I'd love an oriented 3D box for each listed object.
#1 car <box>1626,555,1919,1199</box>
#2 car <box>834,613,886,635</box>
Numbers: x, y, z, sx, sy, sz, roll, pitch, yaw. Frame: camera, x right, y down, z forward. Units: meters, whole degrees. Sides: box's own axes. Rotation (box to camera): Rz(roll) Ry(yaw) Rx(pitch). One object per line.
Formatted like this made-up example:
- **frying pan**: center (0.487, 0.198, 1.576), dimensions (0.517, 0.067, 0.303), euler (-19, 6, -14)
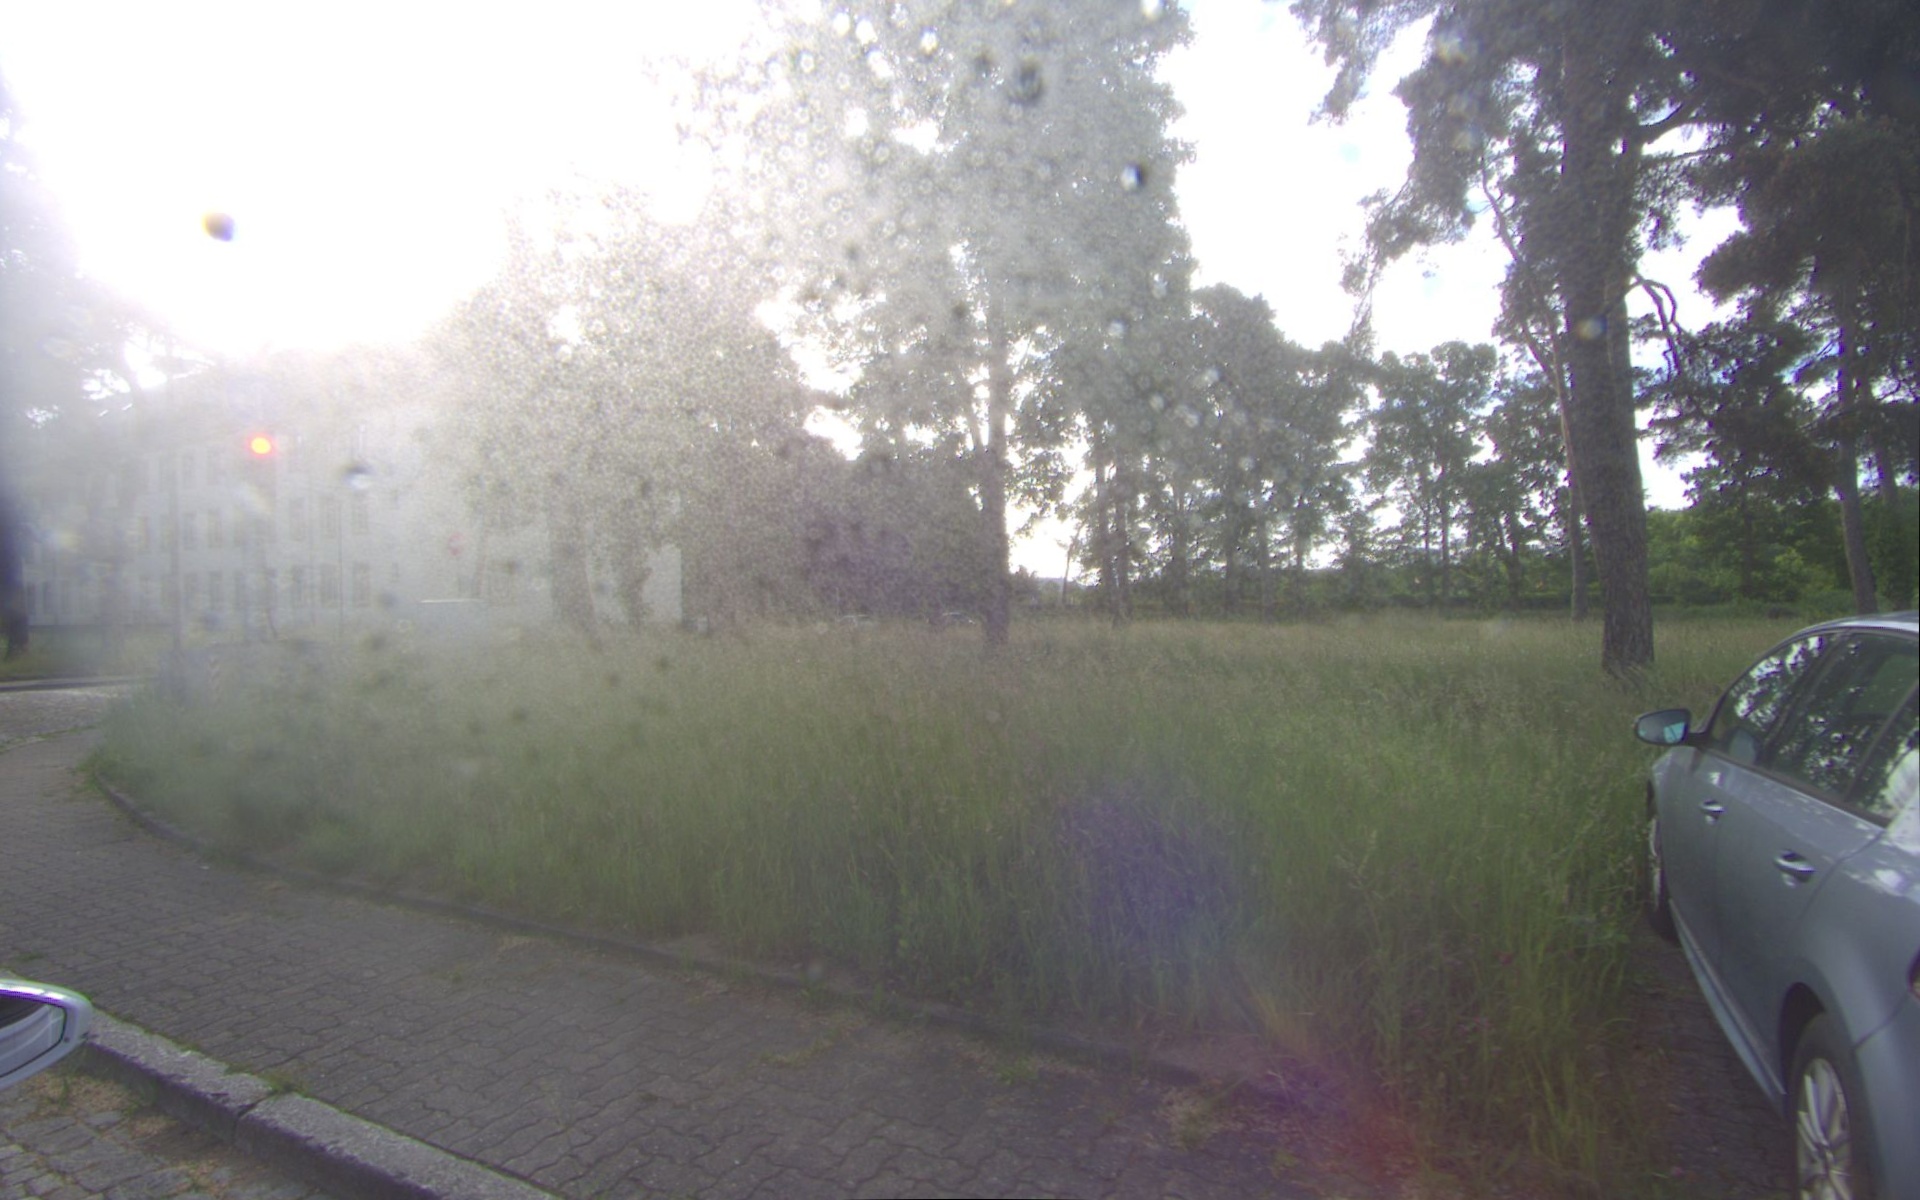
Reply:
- **car**: center (3.043, 0.677, 2.735), dimensions (1.616, 1.490, 3.840), euler (0, -1, 27)
- **car**: center (-6.890, 1.690, 69.504), dimensions (1.540, 1.415, 3.984), euler (-1, -3, 30)
